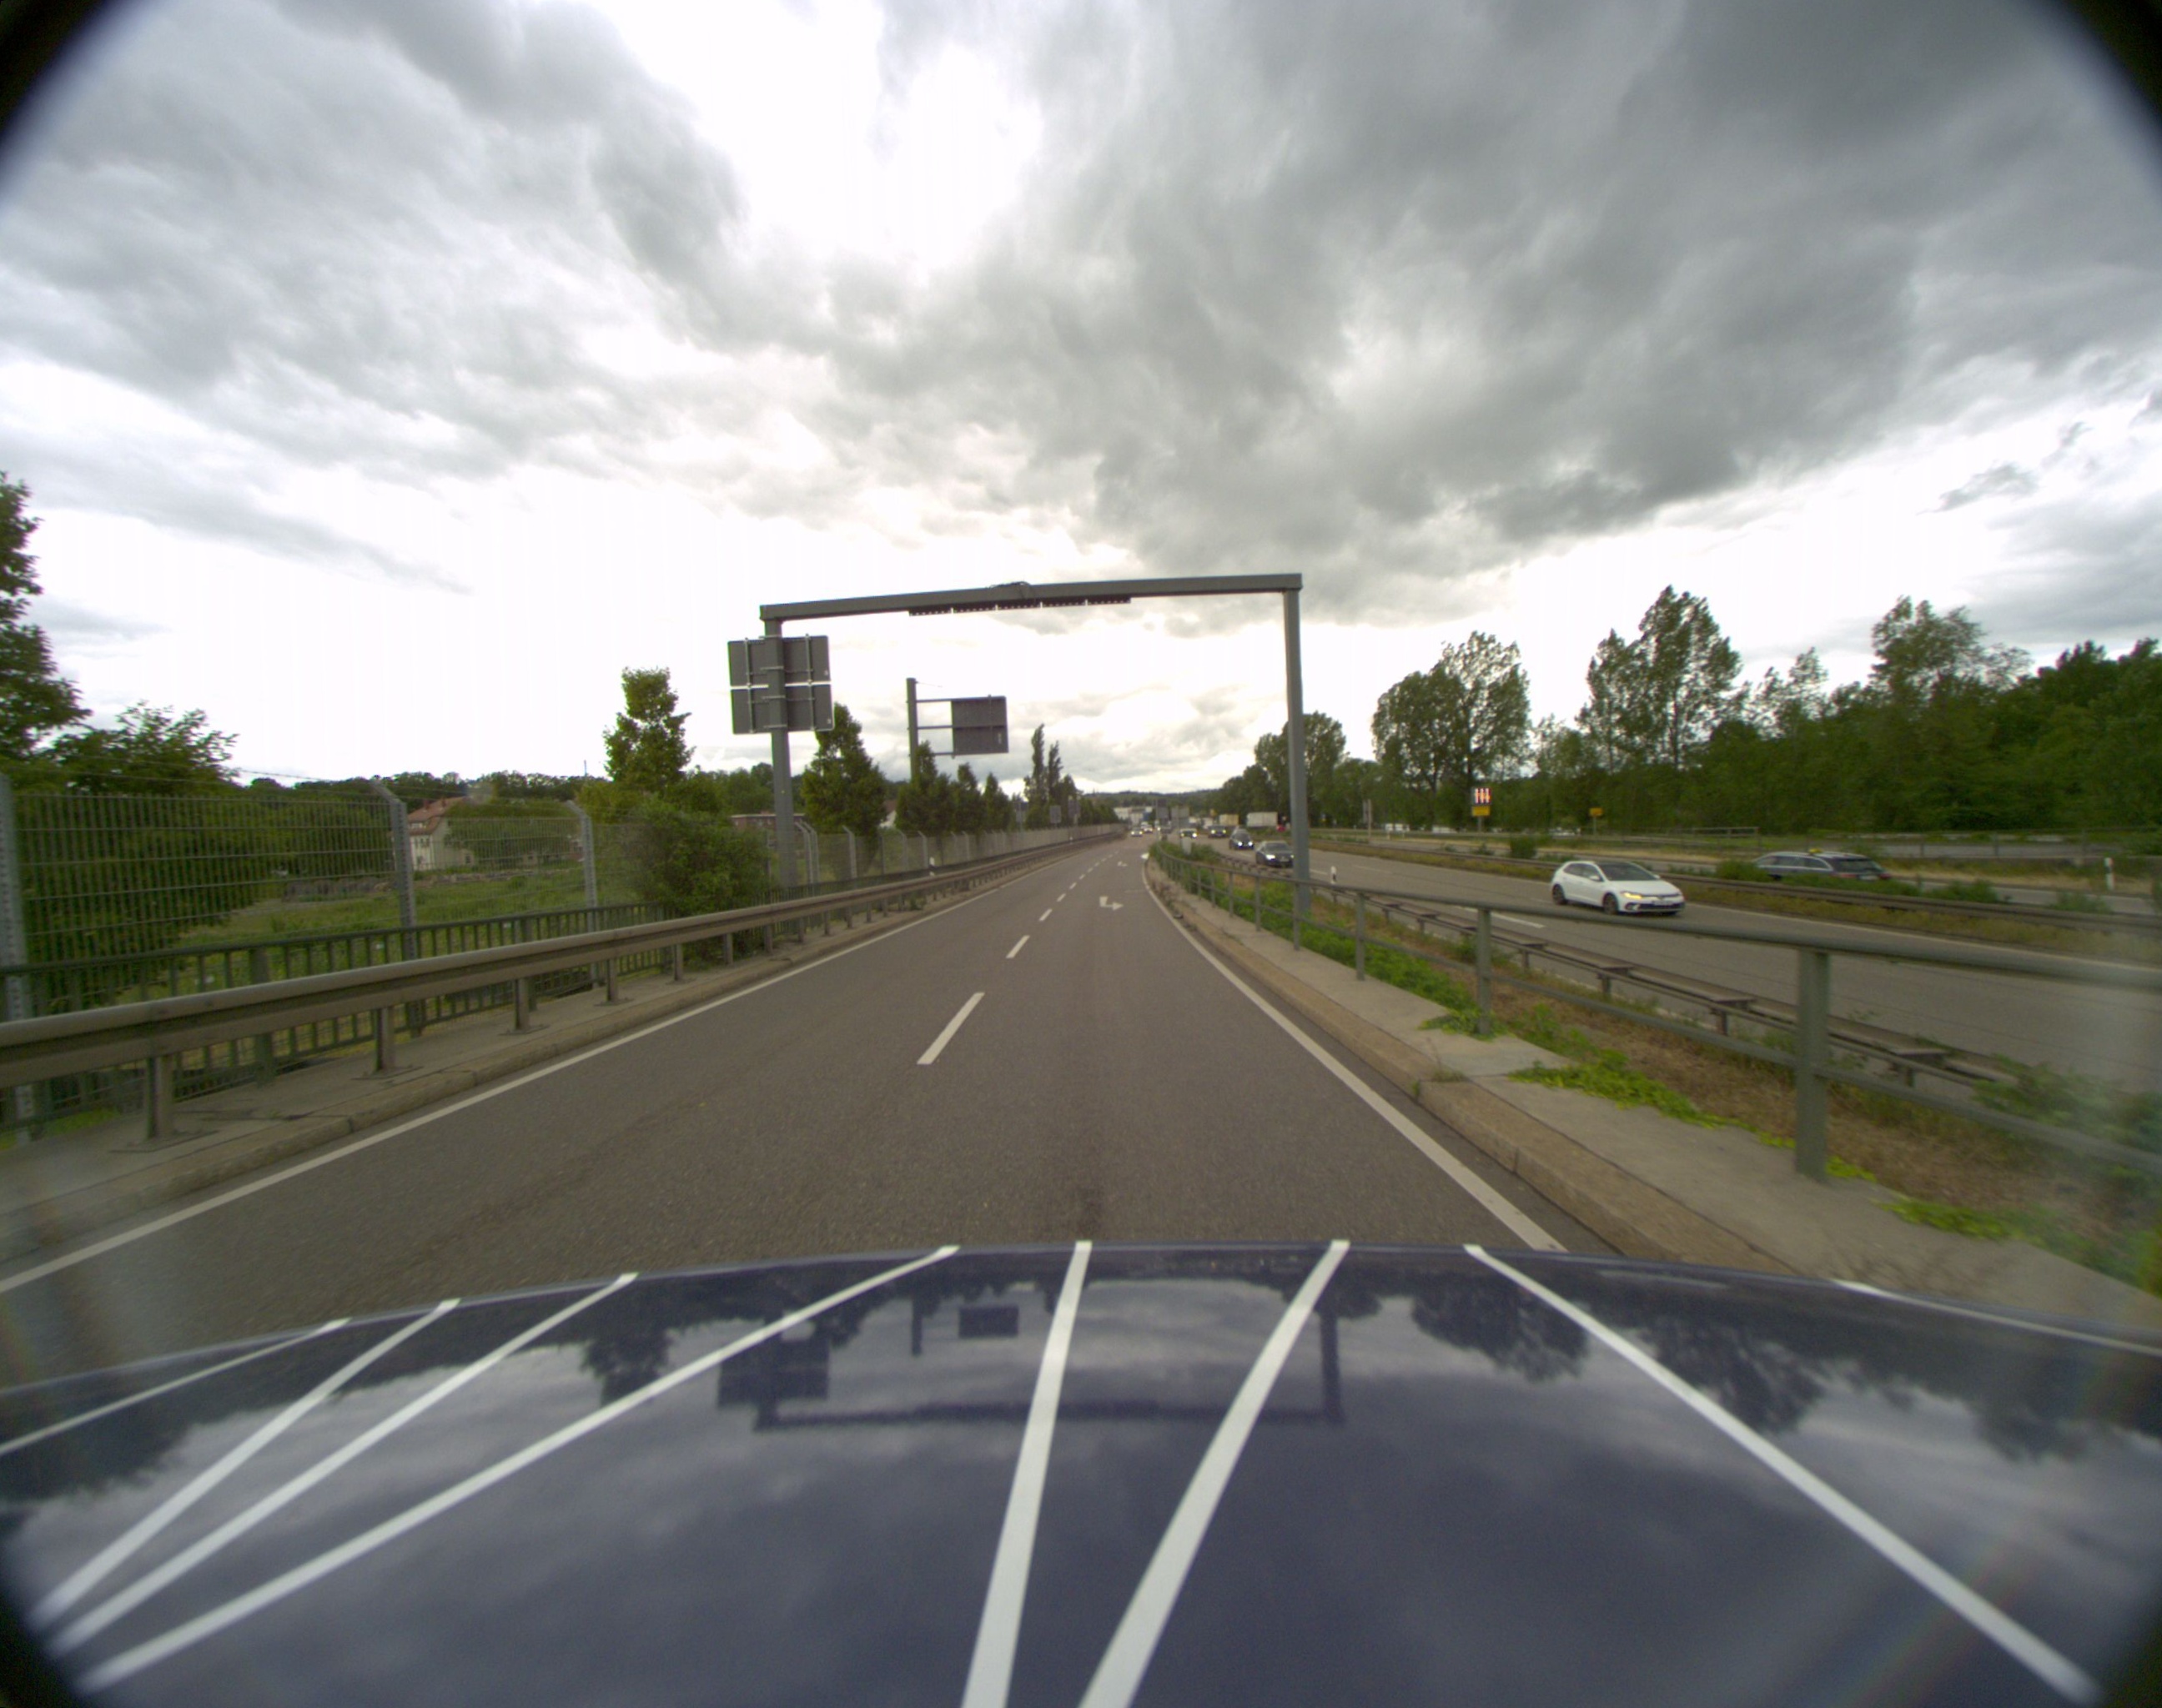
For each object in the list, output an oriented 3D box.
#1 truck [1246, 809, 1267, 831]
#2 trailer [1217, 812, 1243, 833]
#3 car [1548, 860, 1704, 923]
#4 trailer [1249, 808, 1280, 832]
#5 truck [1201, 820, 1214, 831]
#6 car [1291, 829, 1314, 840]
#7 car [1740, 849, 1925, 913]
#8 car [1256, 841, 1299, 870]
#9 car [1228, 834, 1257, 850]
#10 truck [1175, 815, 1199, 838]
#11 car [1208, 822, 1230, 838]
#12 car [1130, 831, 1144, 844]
[{"bbox_3d":[33.855,-6.608,146.773,2.796,3.916,5.310,-3,3,2],"label":"truck"},{"bbox_3d":[36.253,-7.689,185.451,3.472,4.647,14.777,-2,2,2],"label":"trailer"},{"bbox_3d":[15.854,1.021,22.403,1.858,1.491,3.999,-1,2,3],"label":"car"},{"bbox_3d":[33.586,-6.274,139.727,2.796,3.928,13.508,-3,3,2],"label":"trailer"},{"bbox_3d":[42.808,-9.572,257.287,2.990,3.623,6.334,-4,2,-1],"label":"truck"},{"bbox_3d":[28.735,-2.554,98.574,1.998,1.427,3.999,-1,2,2],"label":"car"},{"bbox_3d":[23.623,0.770,24.137,1.998,1.718,3.999,-1,2,3],"label":"car"},{"bbox_3d":[11.217,0.038,43.665,1.939,1.492,4.305,0,2,8],"label":"car"},{"bbox_3d":[14.064,-1.100,66.333,1.728,1.320,3.646,-1,2,1],"label":"car"},{"bbox_3d":[15.636,-4.142,112.619,3.038,3.142,7.566,-1,3,4],"label":"truck"},{"bbox_3d":[19.341,-3.386,106.922,2.099,2.003,5.336,-1,3,0],"label":"car"},{"bbox_3d":[9.442,-2.727,126.882,1.997,2.002,4.001,-2,2,8],"label":"car"}]
